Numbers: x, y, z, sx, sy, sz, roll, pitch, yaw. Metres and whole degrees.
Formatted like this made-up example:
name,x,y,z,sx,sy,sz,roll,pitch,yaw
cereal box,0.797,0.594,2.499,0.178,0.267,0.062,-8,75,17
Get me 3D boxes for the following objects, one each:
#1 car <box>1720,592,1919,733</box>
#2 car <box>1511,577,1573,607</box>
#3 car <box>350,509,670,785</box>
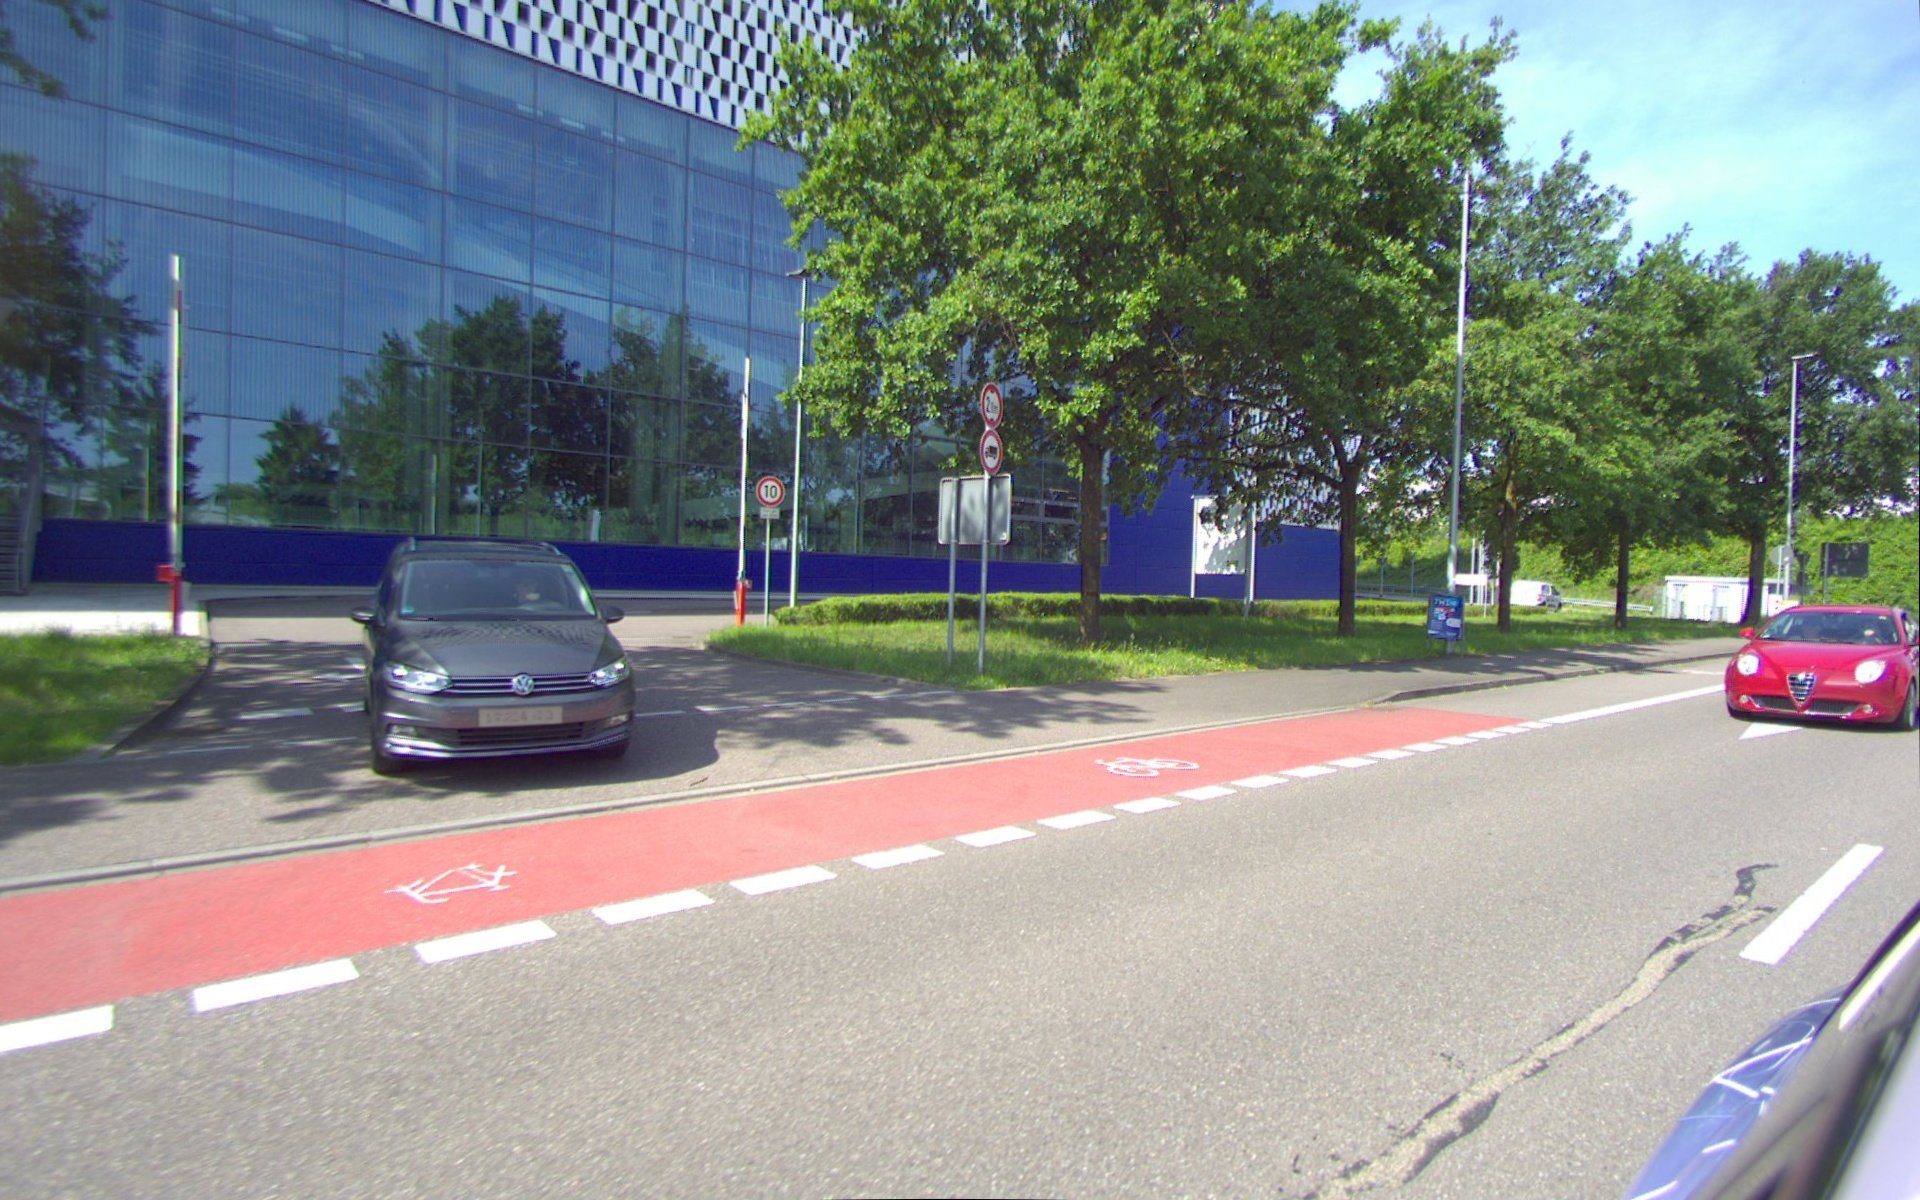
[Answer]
name,x,y,z,sx,sy,sz,roll,pitch,yaw
car,11.250,0.652,12.773,3.908,1.472,1.797,-1,1,-40
car,33.375,-0.443,58.008,4.230,1.660,1.853,0,0,-42
car,-4.064,0.170,8.645,1.808,1.714,4.463,0,3,-33
